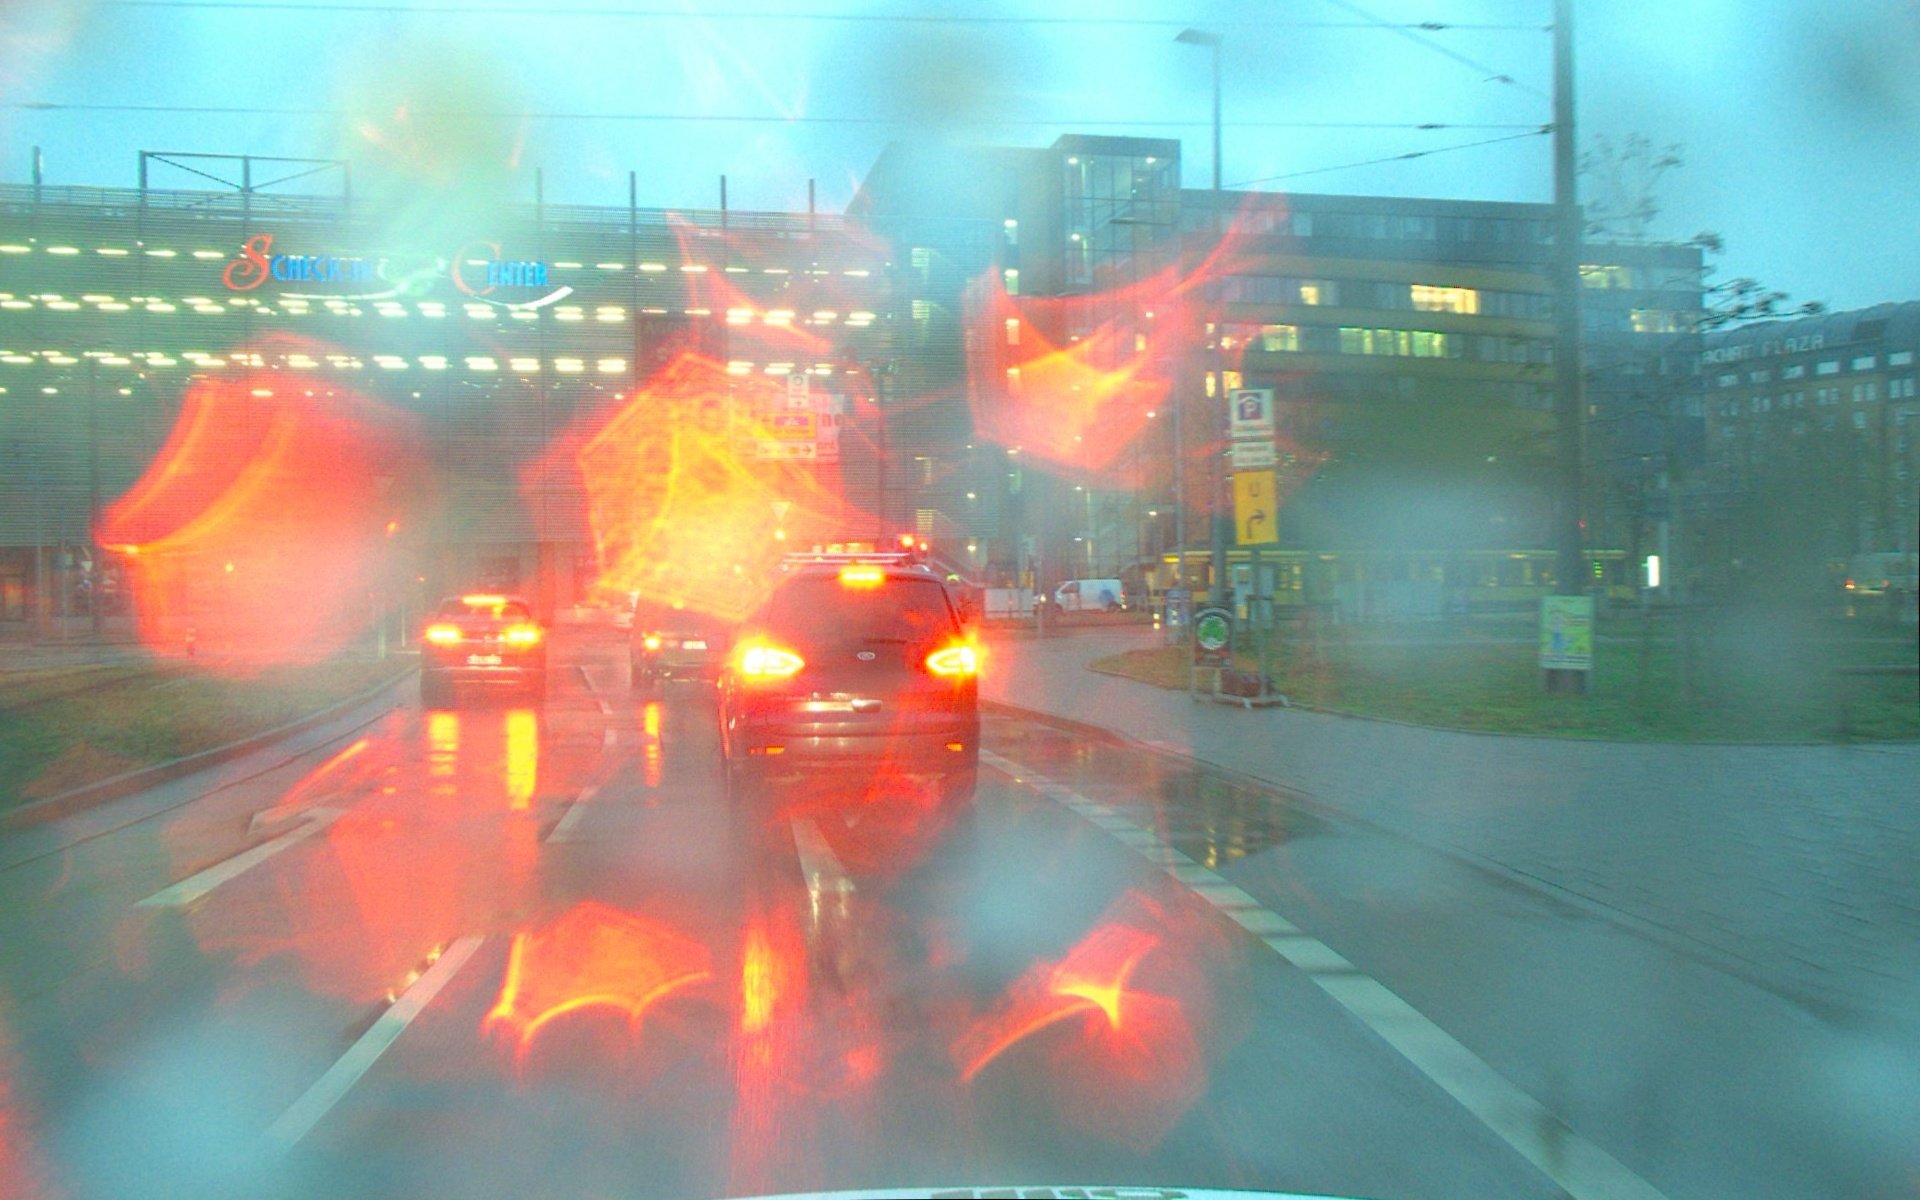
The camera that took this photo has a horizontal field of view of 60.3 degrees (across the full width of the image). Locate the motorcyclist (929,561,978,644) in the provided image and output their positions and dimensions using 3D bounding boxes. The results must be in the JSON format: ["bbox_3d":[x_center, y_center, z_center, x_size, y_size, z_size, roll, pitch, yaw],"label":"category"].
[{"bbox_3d":[-0.129,0.052,31.871,0.851,1.561,1.107,-1,0,-4],"label":"motorcyclist"}]

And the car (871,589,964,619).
[{"bbox_3d":[-2.156,0.195,83.302,4.350,1.414,1.791,-1,0,-18],"label":"car"}]

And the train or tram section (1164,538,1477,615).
[{"bbox_3d":[17.092,-1.162,77.286,16.401,3.317,2.317,-1,0,-26],"label":"train or tram section"}]

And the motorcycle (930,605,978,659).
[{"bbox_3d":[-0.123,0.602,31.917,0.836,0.989,1.580,-1,0,-4],"label":"motorcycle"}]

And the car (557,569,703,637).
[{"bbox_3d":[-10.657,0.096,53.366,4.294,2.049,1.987,2,0,-22],"label":"car"}]

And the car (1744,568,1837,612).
[{"bbox_3d":[41.105,-0.500,81.855,3.929,2.049,1.988,1,0,-21],"label":"car"}]

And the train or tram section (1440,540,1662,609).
[{"bbox_3d":[29.995,-1.324,83.637,12.798,3.317,2.317,-1,0,-26],"label":"train or tram section"}]

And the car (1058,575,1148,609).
[{"bbox_3d":[7.452,-0.401,86.185,4.346,1.623,1.792,2,-1,-15],"label":"car"}]

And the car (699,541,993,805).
[{"bbox_3d":[-1.083,0.503,13.333,1.705,1.768,4.233,2,0,-13],"label":"car"}]

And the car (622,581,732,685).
[{"bbox_3d":[-5.079,0.553,29.342,1.609,1.727,3.656,0,0,-15],"label":"car"}]

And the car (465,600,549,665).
[{"bbox_3d":[-9.561,0.652,34.732,1.517,1.273,4.047,-1,0,-18],"label":"car"}]

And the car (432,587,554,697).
[{"bbox_3d":[-7.423,0.623,26.529,1.723,1.601,3.985,-1,0,-14],"label":"car"}]

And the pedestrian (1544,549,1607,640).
[{"bbox_3d":[13.517,-0.113,36.350,1.145,1.958,0.899,1,-1,12],"label":"pedestrian"}]

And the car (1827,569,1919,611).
[{"bbox_3d":[47.491,-0.513,85.908,4.877,2.049,1.981,1,0,-29],"label":"car"}]
